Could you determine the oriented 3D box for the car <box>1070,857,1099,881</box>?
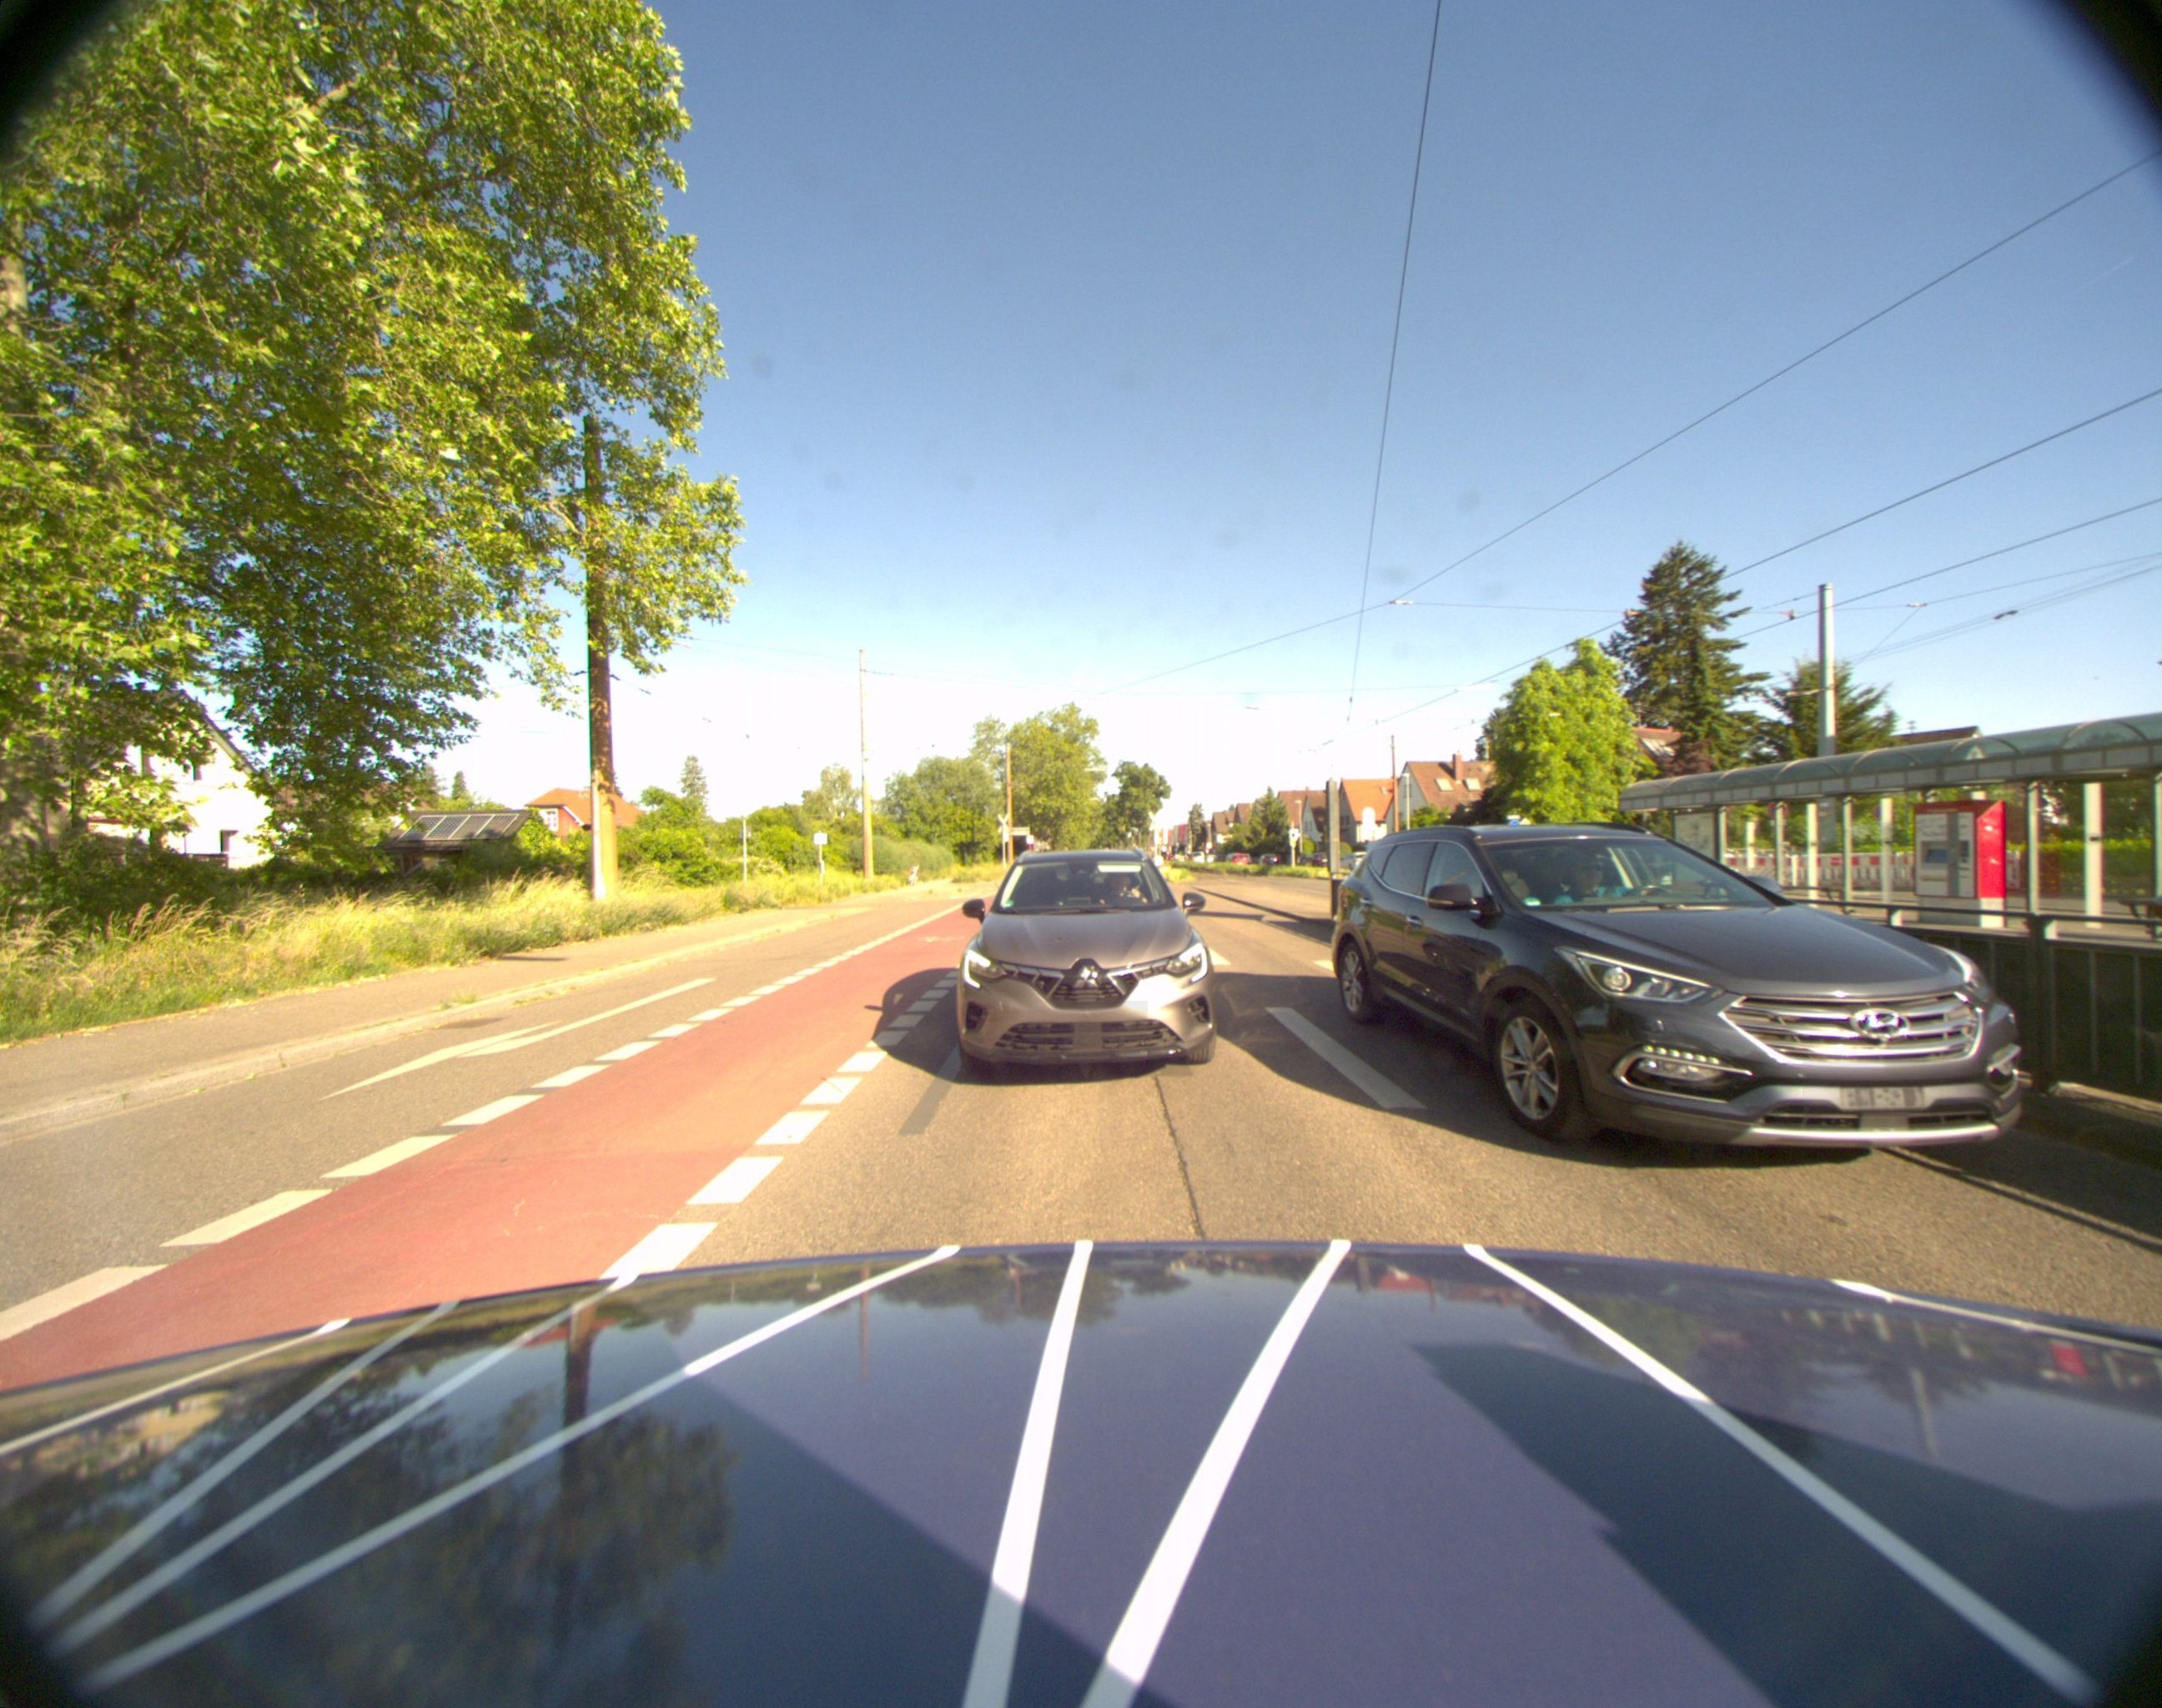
[{"bbox_3d":[0.200,0.983,51.882,1.839,1.541,3.815,-1,0,-1],"label":"car"}]

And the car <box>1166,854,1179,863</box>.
[{"bbox_3d":[17.428,0.797,144.343,1.998,1.652,4.000,-1,0,1],"label":"car"}]

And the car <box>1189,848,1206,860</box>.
[{"bbox_3d":[17.274,0.022,112.623,1.998,1.761,4.000,-1,0,1],"label":"car"}]

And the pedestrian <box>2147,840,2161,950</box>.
[{"bbox_3d":[14.105,0.520,9.478,0.623,1.406,0.711,-1,0,-1],"label":"pedestrian"}]

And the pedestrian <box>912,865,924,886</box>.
[{"bbox_3d":[-8.004,1.037,37.292,0.482,1.027,0.454,-1,0,1],"label":"pedestrian"}]

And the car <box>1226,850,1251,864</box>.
[{"bbox_3d":[17.059,0.305,82.360,1.998,1.455,4.000,-1,0,1],"label":"car"}]

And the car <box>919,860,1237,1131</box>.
[{"bbox_3d":[0.007,0.848,6.368,1.839,1.541,3.816,-1,0,1],"label":"car"}]

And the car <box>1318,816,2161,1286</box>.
[{"bbox_3d":[3.185,0.719,4.927,1.886,1.686,4.300,-1,0,-1],"label":"car"}]
